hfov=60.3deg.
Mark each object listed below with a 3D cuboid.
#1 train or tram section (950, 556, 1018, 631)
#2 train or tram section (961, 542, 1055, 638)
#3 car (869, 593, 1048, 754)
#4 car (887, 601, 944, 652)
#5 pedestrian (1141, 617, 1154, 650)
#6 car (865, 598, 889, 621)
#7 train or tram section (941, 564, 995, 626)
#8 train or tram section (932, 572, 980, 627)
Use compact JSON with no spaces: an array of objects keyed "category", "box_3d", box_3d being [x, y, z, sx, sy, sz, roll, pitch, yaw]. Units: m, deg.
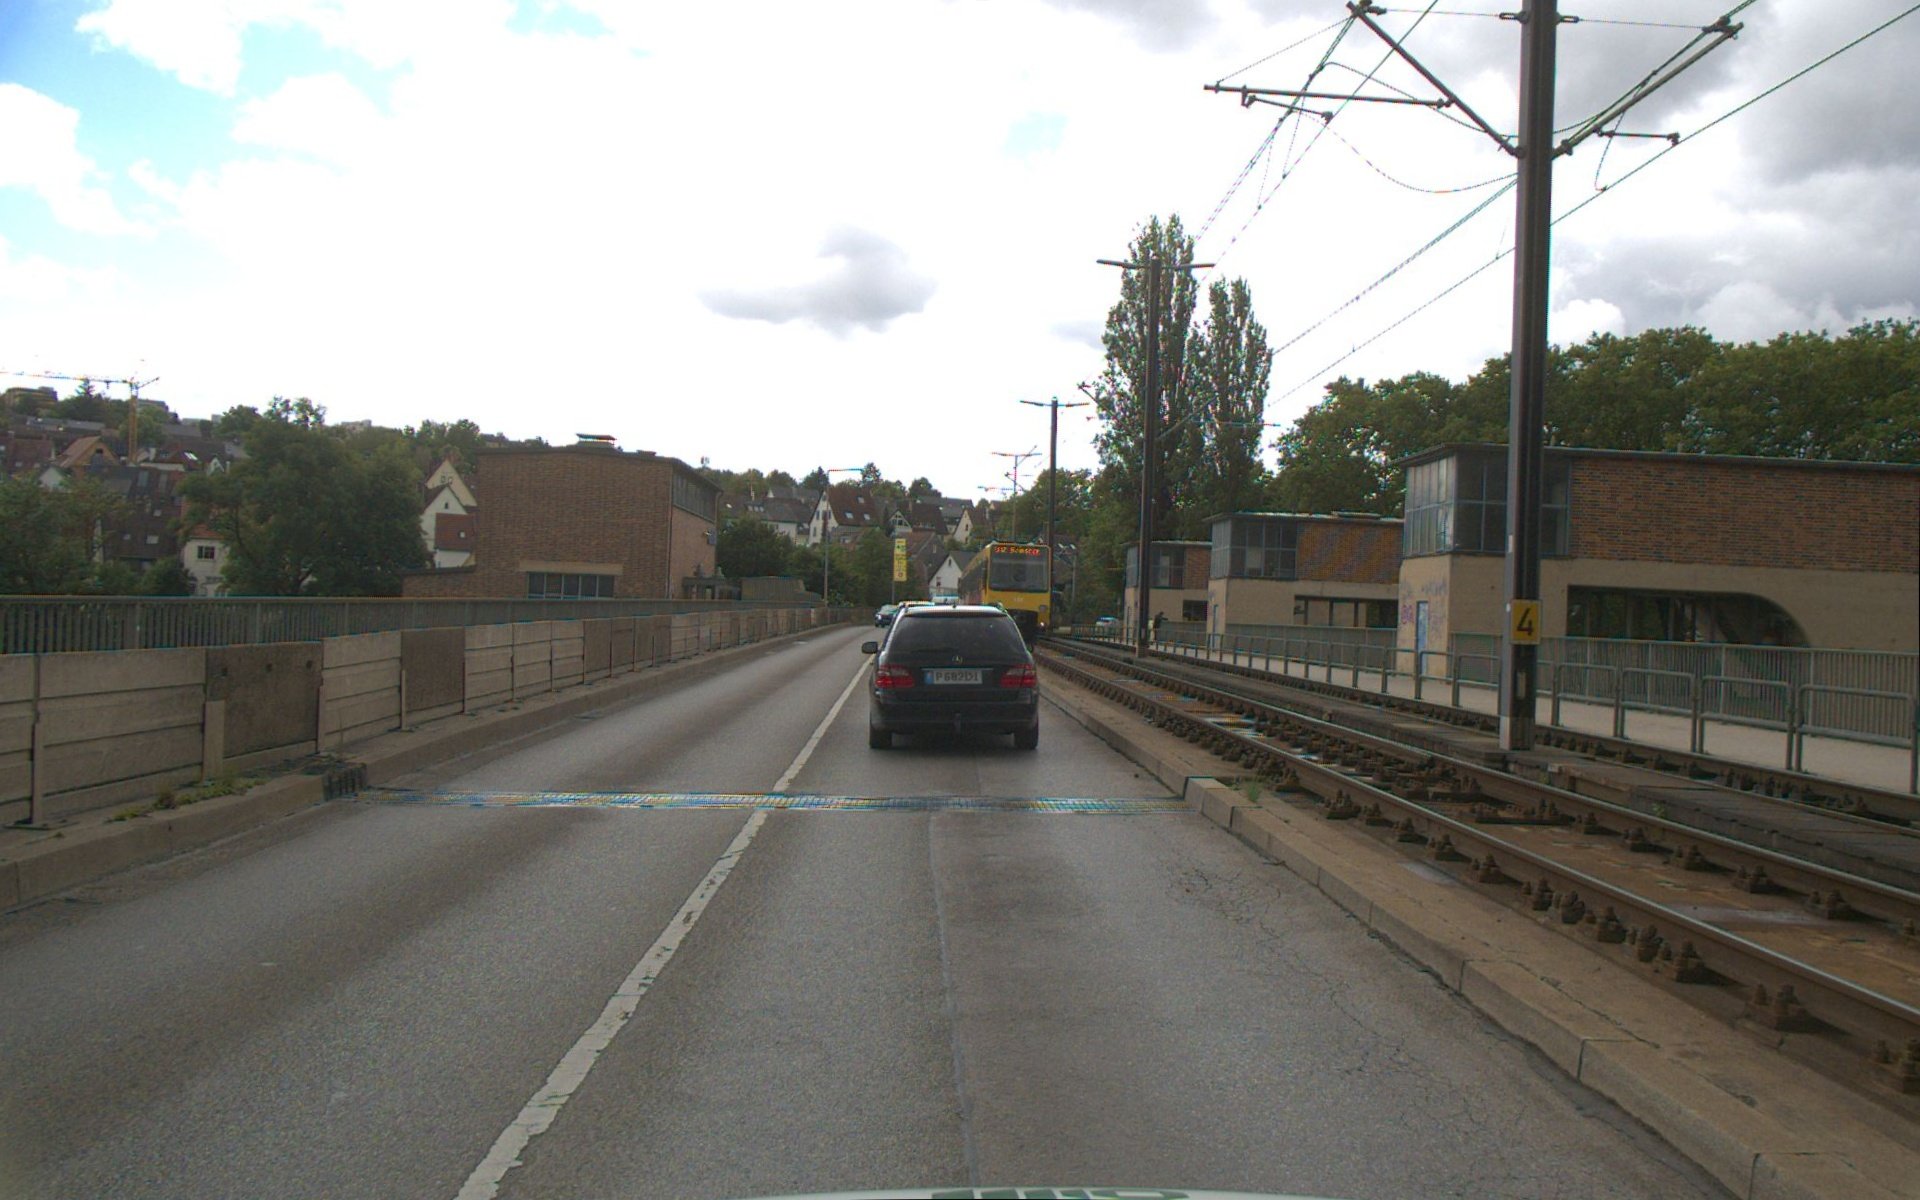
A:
[{"category":"train or tram section","box_3d":[1.125,-0.266,89.937,2.773,3.643,18.658,0,0,-2]},{"category":"train or tram section","box_3d":[1.814,-0.340,71.213,2.824,3.571,18.658,0,0,-2]},{"category":"car","box_3d":[-0.011,0.724,18.357,1.723,1.542,4.442,1,0,0]},{"category":"car","box_3d":[-1.519,0.851,55.188,1.735,1.582,4.237,2,0,-4]},{"category":"pedestrian","box_3d":[9.425,1.681,83.098,0.565,1.638,0.612,2,-1,-1]},{"category":"car","box_3d":[-6.078,0.702,121.320,1.681,1.674,3.998,0,0,-2]},{"category":"train or tram section","box_3d":[0.369,-0.140,109.171,2.728,3.720,19.882,0,-1,-2]},{"category":"train or tram section","box_3d":[-0.460,0.092,129.082,2.737,3.830,19.880,2,-1,-3]}]
